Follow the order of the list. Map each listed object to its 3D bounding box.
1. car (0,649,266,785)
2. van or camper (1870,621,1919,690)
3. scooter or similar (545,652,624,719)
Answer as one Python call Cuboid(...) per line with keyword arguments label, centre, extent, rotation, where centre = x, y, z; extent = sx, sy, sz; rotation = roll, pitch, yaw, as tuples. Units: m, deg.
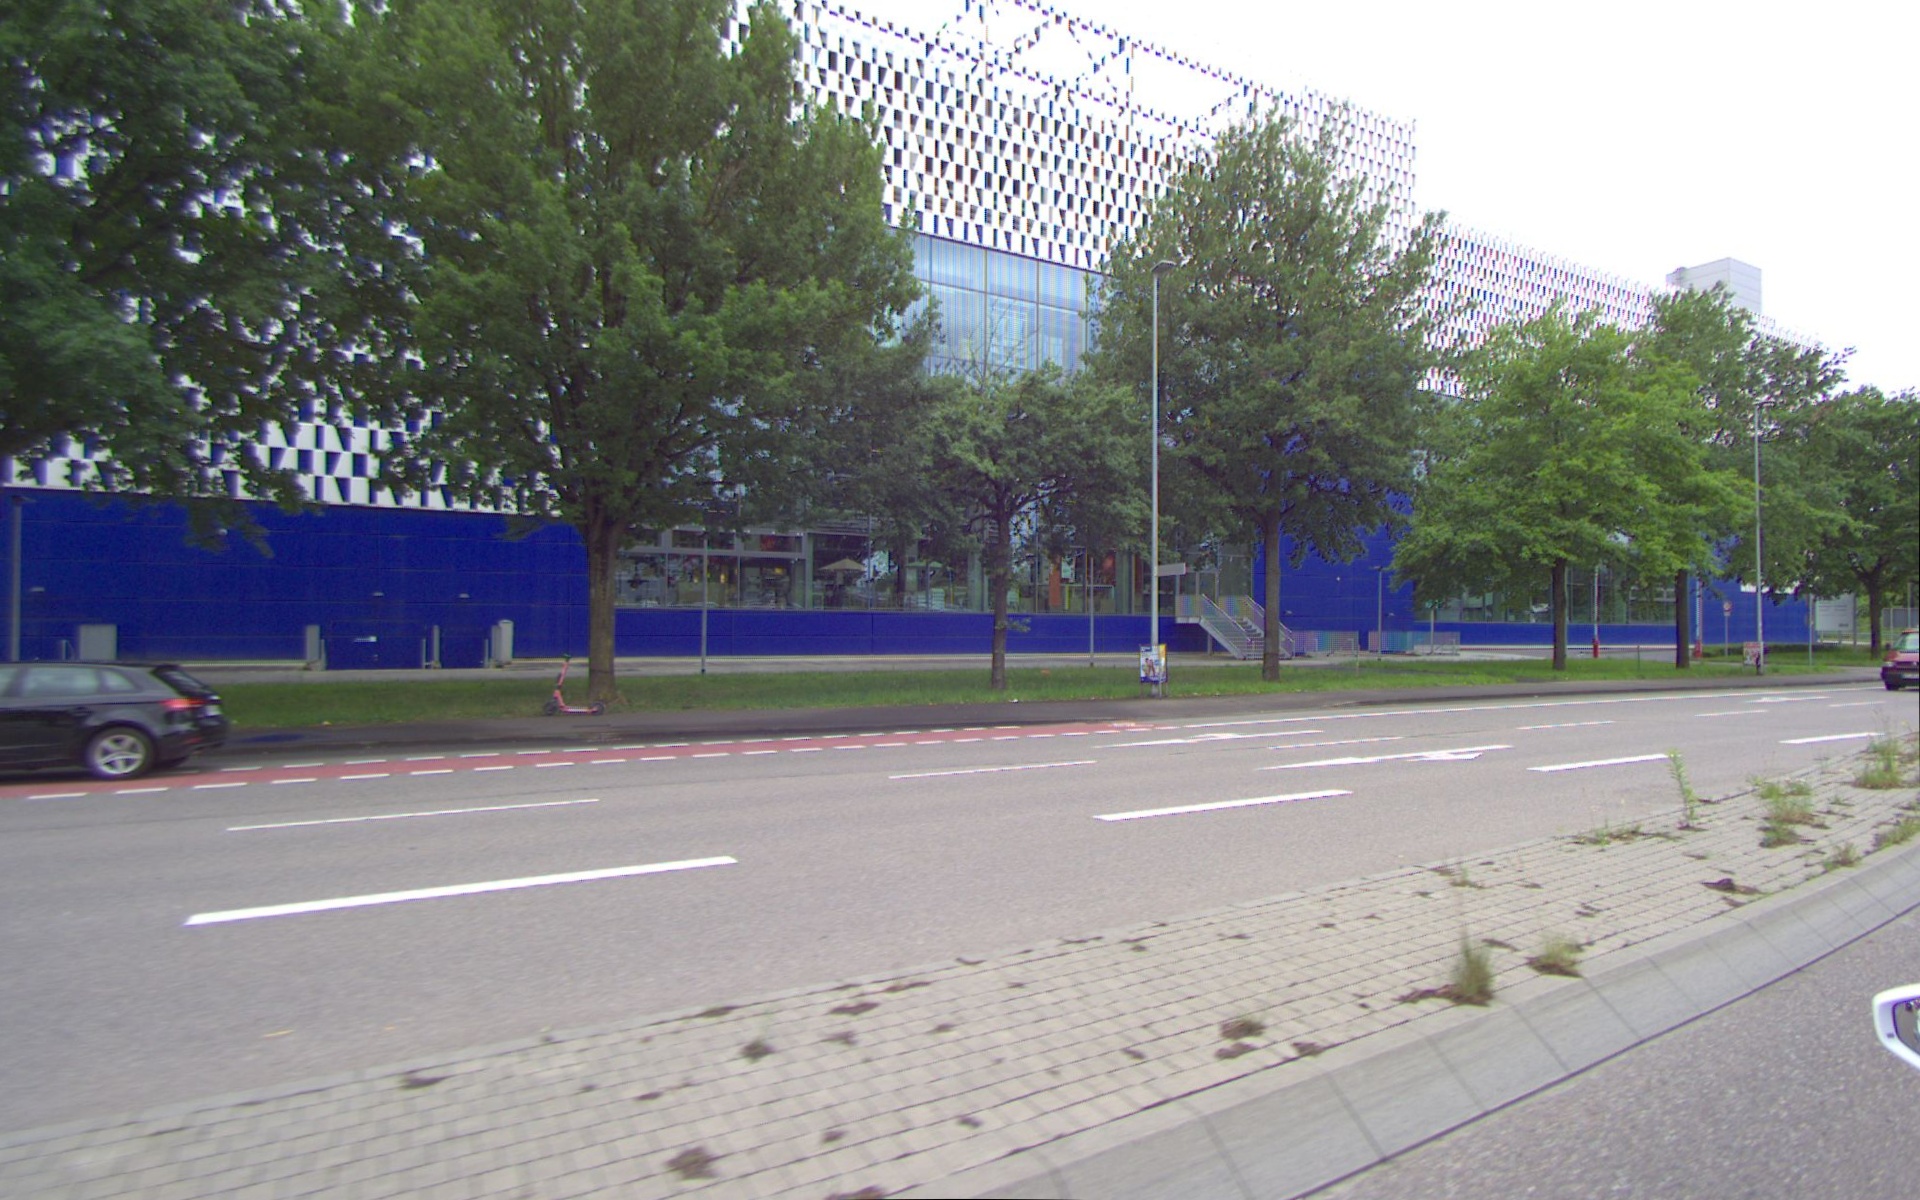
Cuboid(label="car", centre=(-11.149, 1.363, 12.118), extent=(4.190, 1.521, 1.915), rotation=(1, -4, -22))
Cuboid(label="van or camper", centre=(30.208, 1.655, 30.859), extent=(4.830, 2.013, 1.867), rotation=(0, -2, -29))
Cuboid(label="scooter or similar", centre=(-7.411, 1.671, 19.821), extent=(1.362, 1.212, 0.651), rotation=(0, 0, -31))
